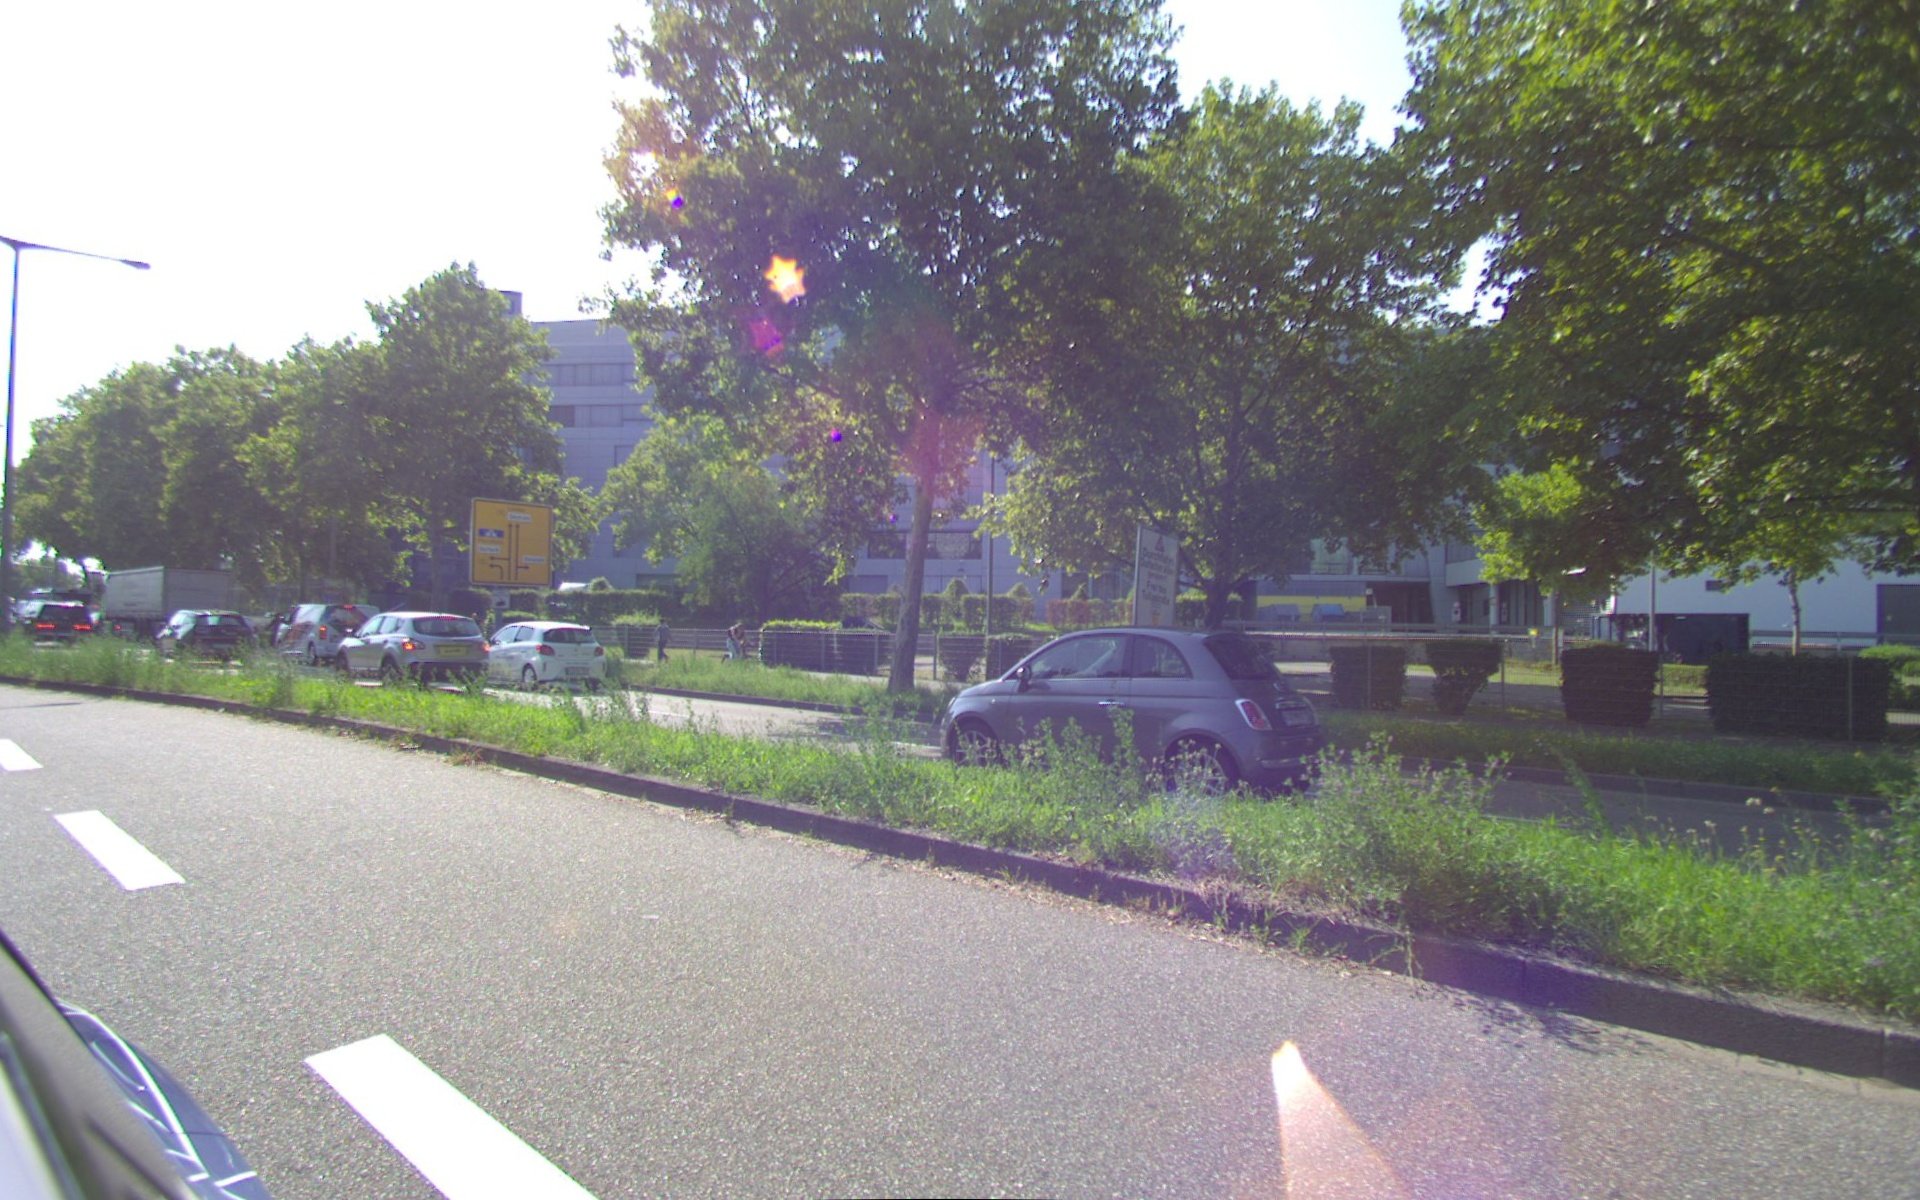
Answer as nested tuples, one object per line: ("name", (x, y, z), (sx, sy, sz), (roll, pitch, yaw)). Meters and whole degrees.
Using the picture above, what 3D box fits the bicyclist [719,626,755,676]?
("bicyclist", (-6.659, 1.518, 30.242), (0.839, 1.450, 0.641), (-1, -3, 41))

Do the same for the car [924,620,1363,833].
("car", (1.515, 0.935, 8.978), (3.491, 1.497, 1.659), (-1, -1, 41))

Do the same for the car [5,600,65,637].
("car", (-52.814, 1.060, 57.766), (5.034, 1.968, 1.972), (-1, -3, 42))

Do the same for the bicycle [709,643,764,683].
("bicycle", (-6.690, 1.867, 30.236), (1.799, 1.116, 0.641), (-1, -3, 41))

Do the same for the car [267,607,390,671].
("car", (-20.194, 1.217, 32.281), (4.968, 1.873, 1.963), (-1, -4, 42))

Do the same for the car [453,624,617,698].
("car", (-9.566, 1.297, 22.678), (3.997, 1.493, 1.772), (-1, -2, 40))

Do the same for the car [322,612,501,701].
("car", (-11.106, 1.084, 20.393), (4.107, 1.606, 1.860), (-1, -3, 42))

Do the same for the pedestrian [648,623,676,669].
("pedestrian", (-11.104, 1.711, 37.717), (0.933, 1.665, 0.610), (-1, -1, 42))

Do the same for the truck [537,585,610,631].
("truck", (-25.061, 0.559, 65.959), (2.210, 2.883, 5.898), (0, -1, 4))

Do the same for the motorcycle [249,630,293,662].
("motorcycle", (-25.124, 1.668, 36.904), (2.467, 1.115, 0.786), (-1, -1, 43))

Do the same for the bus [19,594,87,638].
("bus", (-67.829, 1.197, 75.598), (12.310, 3.103, 2.562), (-1, -1, 43))

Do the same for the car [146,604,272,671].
("car", (-21.783, 1.084, 29.318), (4.305, 1.773, 1.973), (-1, -4, 41))

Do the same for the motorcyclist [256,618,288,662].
("motorcyclist", (-25.009, 1.435, 36.805), (0.922, 1.566, 0.769), (-1, -2, 43))

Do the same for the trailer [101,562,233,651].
("trailer", (-39.506, 0.389, 50.113), (13.807, 3.851, 2.605), (-1, -4, 42))

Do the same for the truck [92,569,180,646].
("truck", (-44.316, 0.462, 54.395), (5.889, 3.849, 2.580), (-1, -4, 42))

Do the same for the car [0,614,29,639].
("car", (-61.939, 1.713, 65.740), (4.139, 1.540, 1.676), (-1, -4, 42))

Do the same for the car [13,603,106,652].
("car", (-34.823, 1.072, 39.094), (4.472, 1.773, 1.974), (-1, -3, 39))

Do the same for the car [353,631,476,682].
("car", (-14.986, 1.518, 27.715), (4.096, 1.272, 1.771), (-1, -4, 44))
